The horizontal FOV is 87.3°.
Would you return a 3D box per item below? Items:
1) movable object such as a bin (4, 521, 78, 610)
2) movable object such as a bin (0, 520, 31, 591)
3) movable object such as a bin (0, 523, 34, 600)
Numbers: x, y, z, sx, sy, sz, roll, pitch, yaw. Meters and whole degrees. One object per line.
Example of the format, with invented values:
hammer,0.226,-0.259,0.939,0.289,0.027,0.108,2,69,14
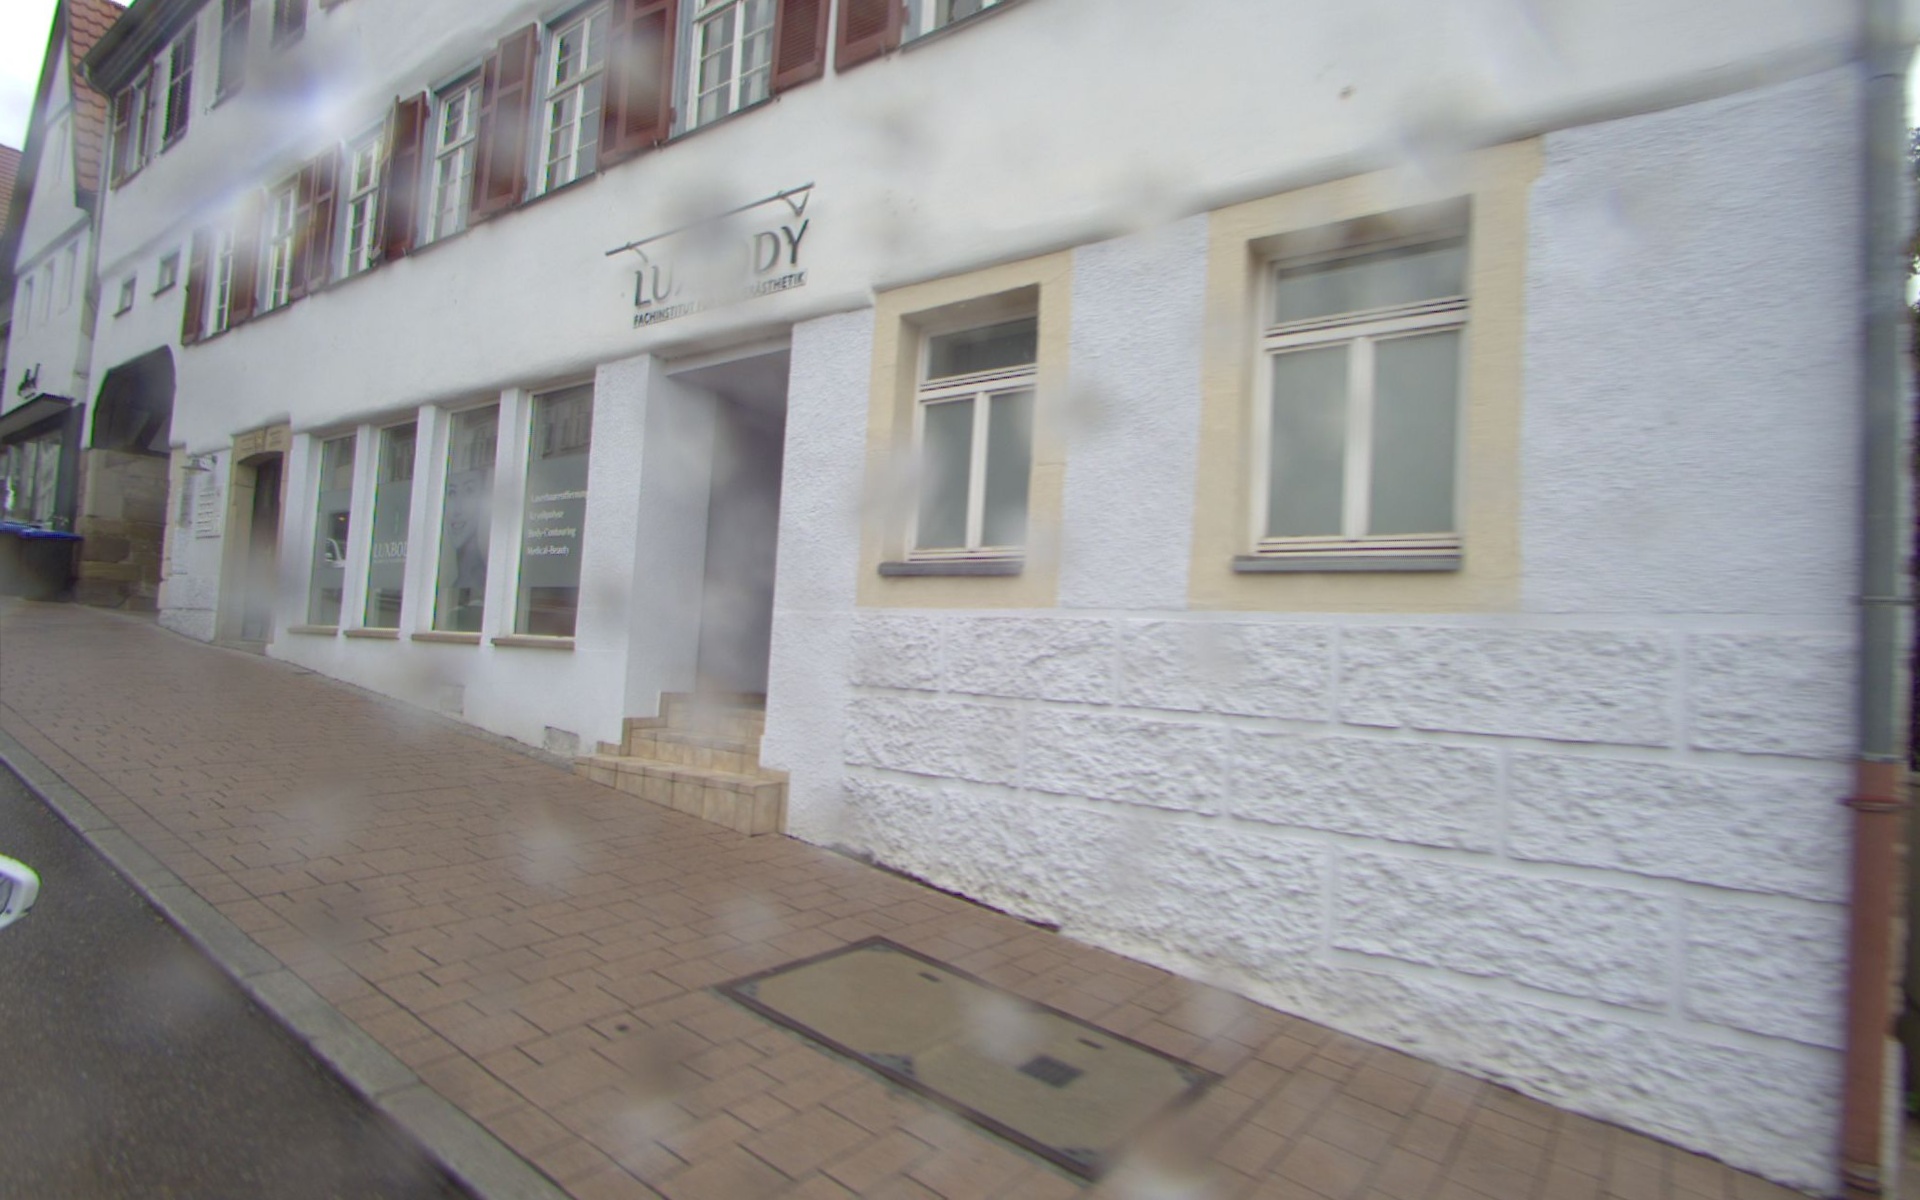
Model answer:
movable object such as a bin,-14.026,-0.522,15.361,0.596,1.220,0.624,9,1,37
movable object such as a bin,-15.452,-0.729,16.173,0.605,1.077,0.658,9,5,39
movable object such as a bin,-14.748,-0.612,15.451,0.666,1.121,0.567,7,-1,38
